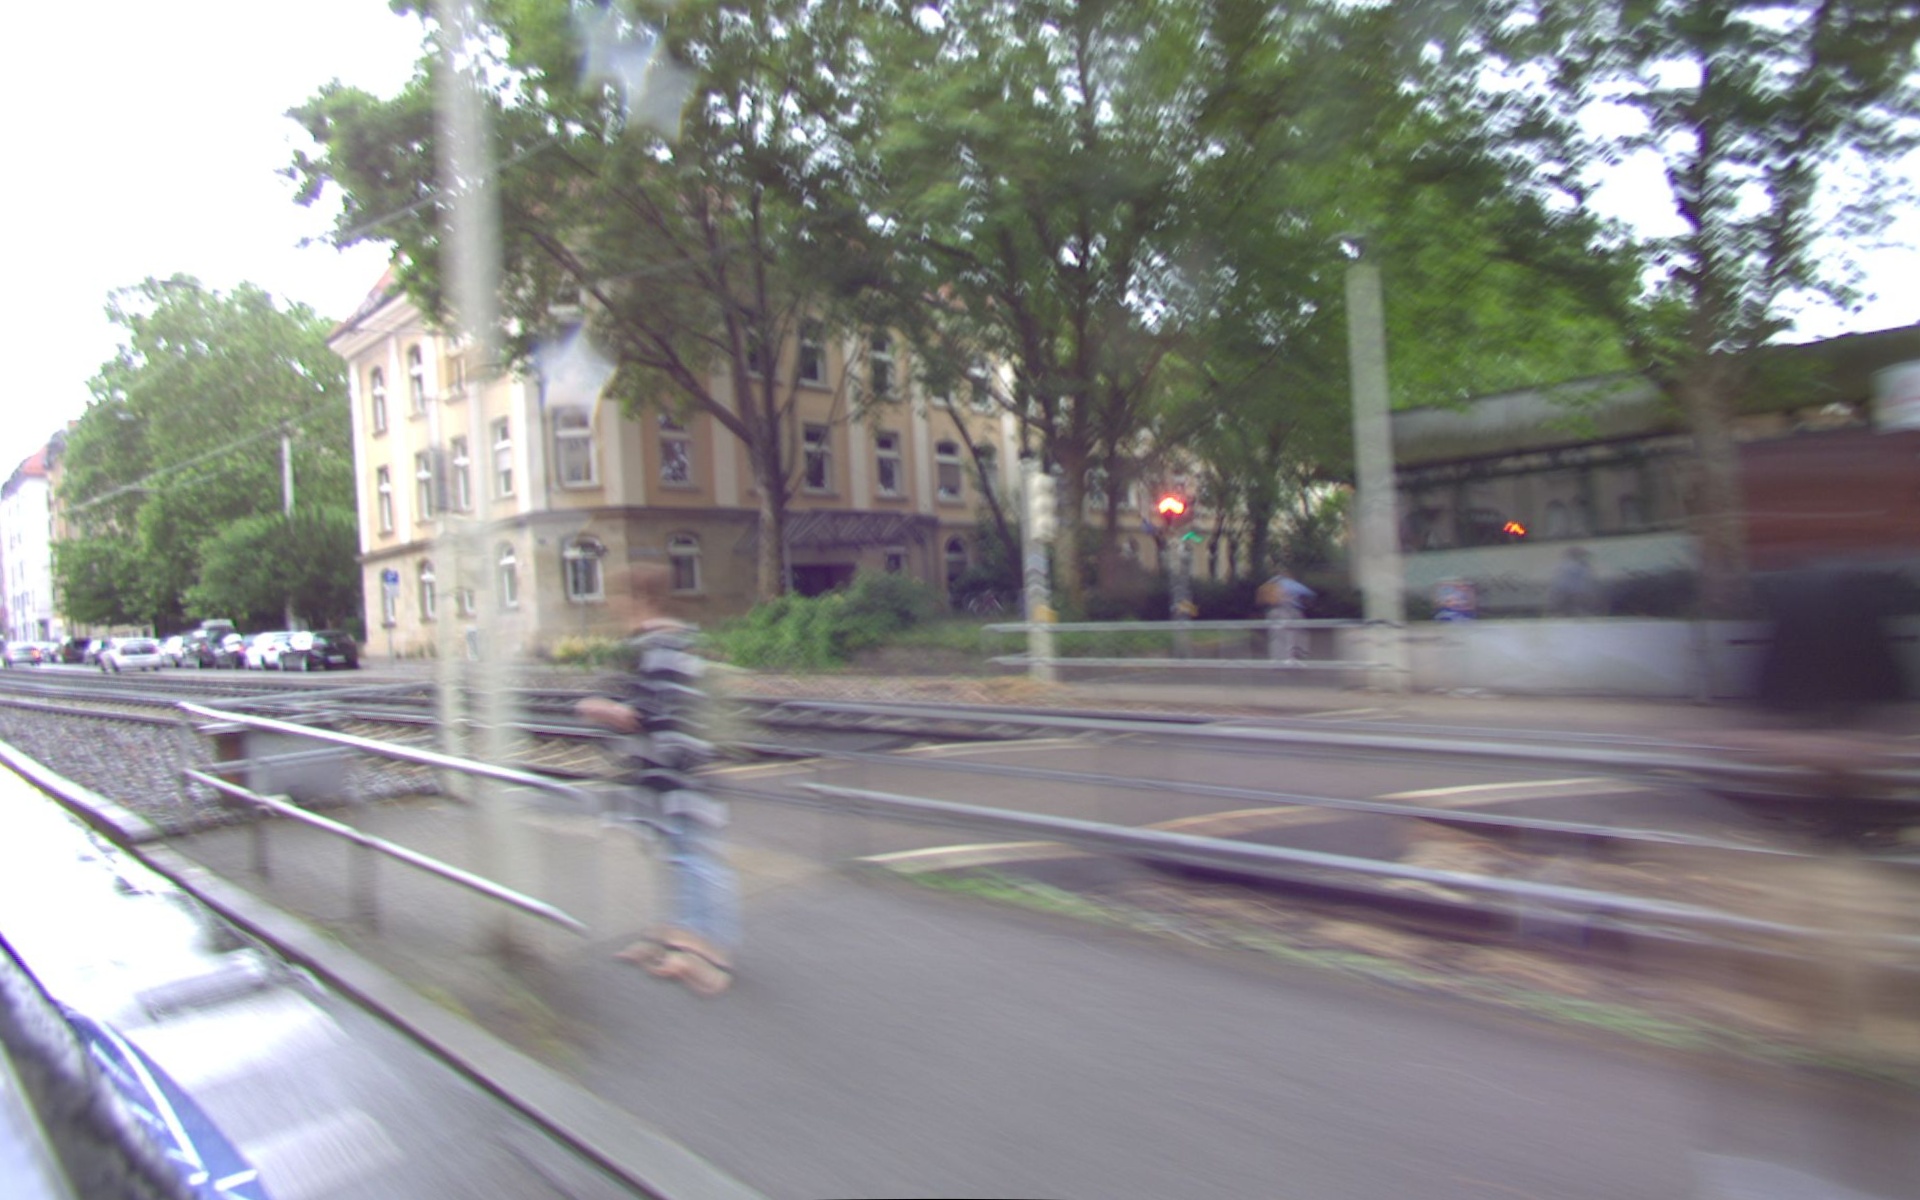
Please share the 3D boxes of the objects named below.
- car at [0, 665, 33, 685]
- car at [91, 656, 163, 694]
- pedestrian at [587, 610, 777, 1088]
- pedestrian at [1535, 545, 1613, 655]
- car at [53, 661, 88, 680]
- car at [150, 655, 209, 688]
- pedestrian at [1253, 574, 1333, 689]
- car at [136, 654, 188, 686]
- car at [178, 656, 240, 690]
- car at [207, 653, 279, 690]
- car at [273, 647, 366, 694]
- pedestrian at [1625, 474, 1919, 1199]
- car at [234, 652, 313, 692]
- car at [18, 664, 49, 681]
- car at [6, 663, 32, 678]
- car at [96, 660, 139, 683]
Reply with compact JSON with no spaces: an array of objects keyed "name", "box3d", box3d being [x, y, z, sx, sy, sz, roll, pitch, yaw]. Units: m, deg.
[{"name":"car","box3d":[-62.407,4.946,66.662,2.906,1.175,1.553,-4,-1,38]},{"name":"car","box3d":[-36.860,3.301,44.763,3.306,1.488,1.667,-4,0,37]},{"name":"pedestrian","box3d":[-1.066,0.884,3.865,0.427,1.651,0.482,-3,-1,-44]},{"name":"pedestrian","box3d":[10.483,0.005,17.284,0.858,1.812,0.863,-3,0,-43]},{"name":"car","box3d":[-62.079,4.942,70.620,2.907,1.175,1.310,-4,-1,39]},{"name":"car","box3d":[-38.051,3.499,49.323,3.496,1.460,1.465,-4,-1,39]},{"name":"pedestrian","box3d":[5.486,0.512,16.672,0.862,1.812,0.859,-4,0,44]},{"name":"car","box3d":[-41.530,3.660,52.630,3.310,1.520,1.385,-4,-1,39]},{"name":"car","box3d":[-34.210,3.322,46.050,3.279,1.411,1.465,-4,-1,39]},{"name":"car","box3d":[-30.398,3.036,42.858,3.513,1.411,1.625,-4,-1,40]},{"name":"car","box3d":[-23.419,2.548,36.982,3.806,1.488,1.867,-3,0,42]},{"name":"pedestrian","box3d":[1.759,0.650,1.783,0.642,1.717,0.663,-3,0,-26]},{"name":"car","box3d":[-27.051,2.848,39.856,3.513,1.411,1.625,-4,-1,40]},{"name":"car","box3d":[-71.852,5.659,78.477,2.906,1.175,1.310,-4,-1,39]},{"name":"car","box3d":[-83.252,6.218,89.494,2.907,1.175,1.310,-4,-1,40]},{"name":"car","box3d":[-48.767,4.137,58.551,2.906,1.175,1.310,-4,-1,39]}]
